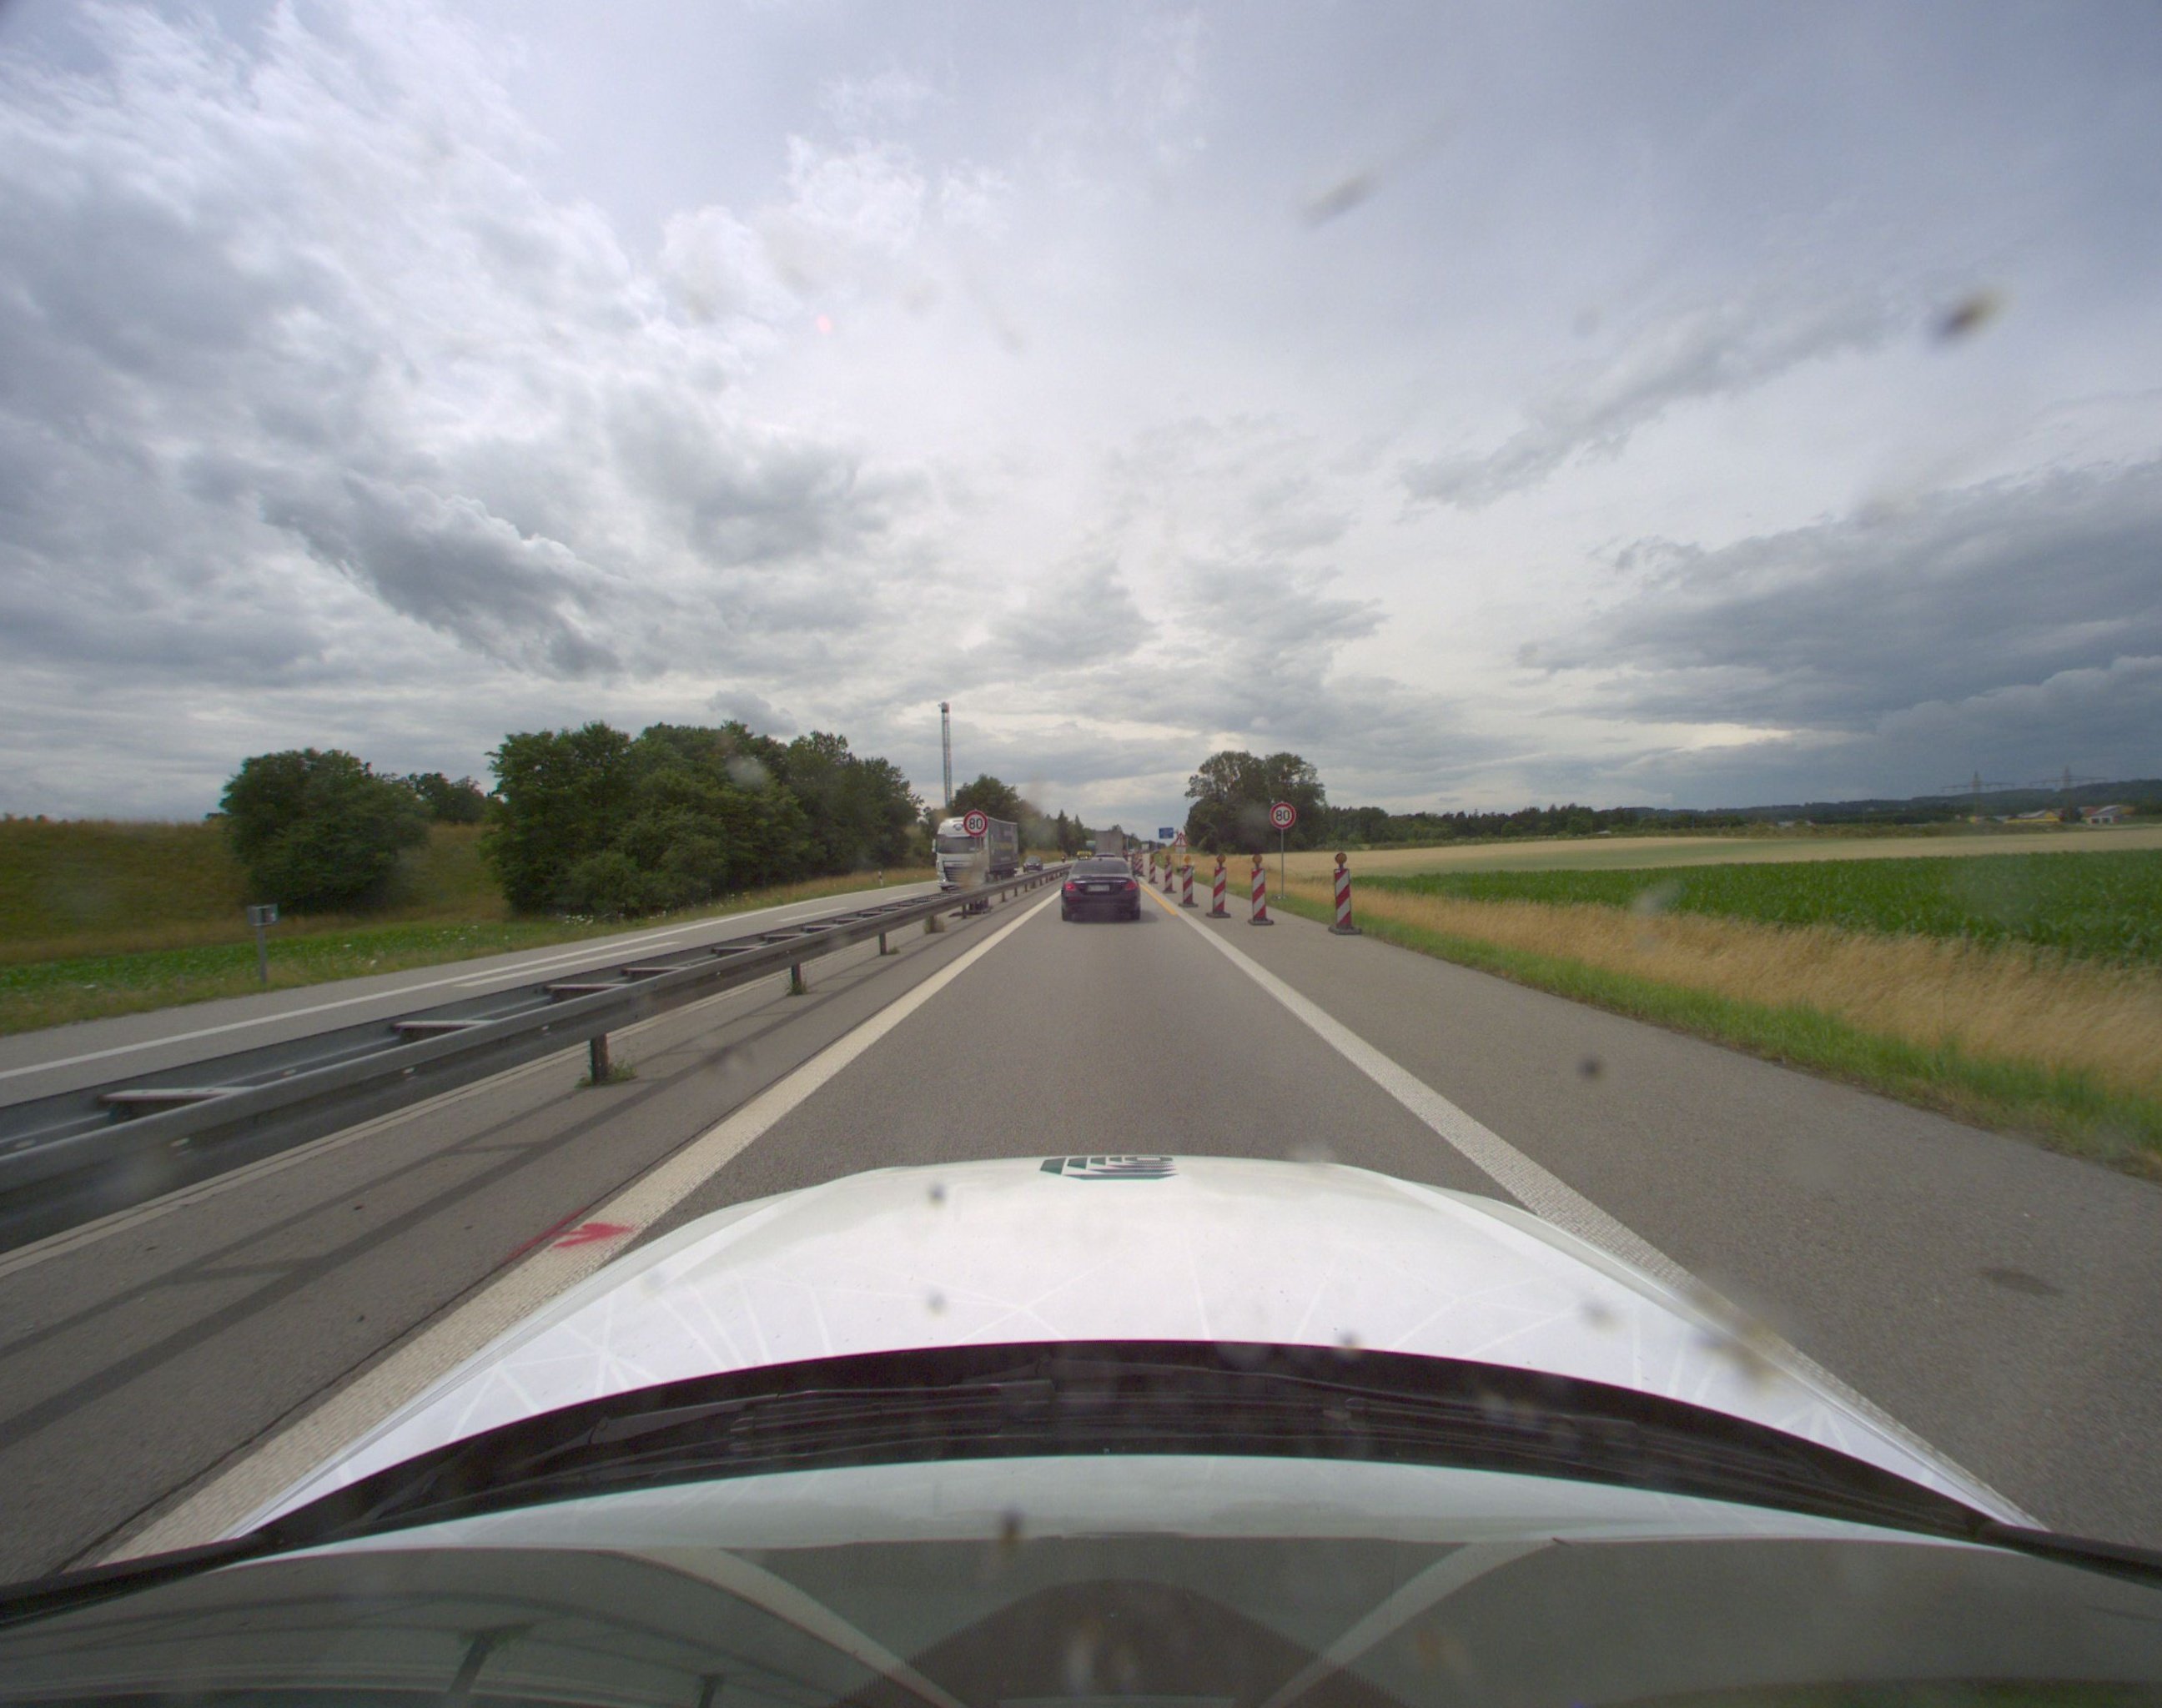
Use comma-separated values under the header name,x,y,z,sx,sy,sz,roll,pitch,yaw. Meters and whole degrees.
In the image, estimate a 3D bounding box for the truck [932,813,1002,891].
name,x,y,z,sx,sy,sz,roll,pitch,yaw
truck,-6.427,-0.077,47.090,2.788,4.142,7.231,0,-1,2

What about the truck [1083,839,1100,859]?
name,x,y,z,sx,sy,sz,roll,pitch,yaw
truck,2.321,-0.960,174.244,3.107,4.213,6.791,0,-1,5

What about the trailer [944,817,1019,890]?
name,x,y,z,sx,sy,sz,roll,pitch,yaw
trailer,-6.184,0.053,53.254,2.788,4.173,13.569,0,-1,2

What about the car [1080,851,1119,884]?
name,x,y,z,sx,sy,sz,roll,pitch,yaw
car,1.154,0.866,52.618,1.991,2.014,3.991,0,-1,-6

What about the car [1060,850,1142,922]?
name,x,y,z,sx,sy,sz,roll,pitch,yaw
car,0.459,0.721,19.824,1.789,1.560,4.000,0,-1,1

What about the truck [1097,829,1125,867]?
name,x,y,z,sx,sy,sz,roll,pitch,yaw
truck,2.846,-0.518,78.390,2.577,3.524,4.813,0,-1,1

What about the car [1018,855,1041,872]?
name,x,y,z,sx,sy,sz,roll,pitch,yaw
car,-5.349,1.004,85.521,1.986,1.684,4.235,0,-1,1

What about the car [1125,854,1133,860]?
name,x,y,z,sx,sy,sz,roll,pitch,yaw
car,11.211,0.758,191.436,1.644,1.396,3.703,0,-1,-2
